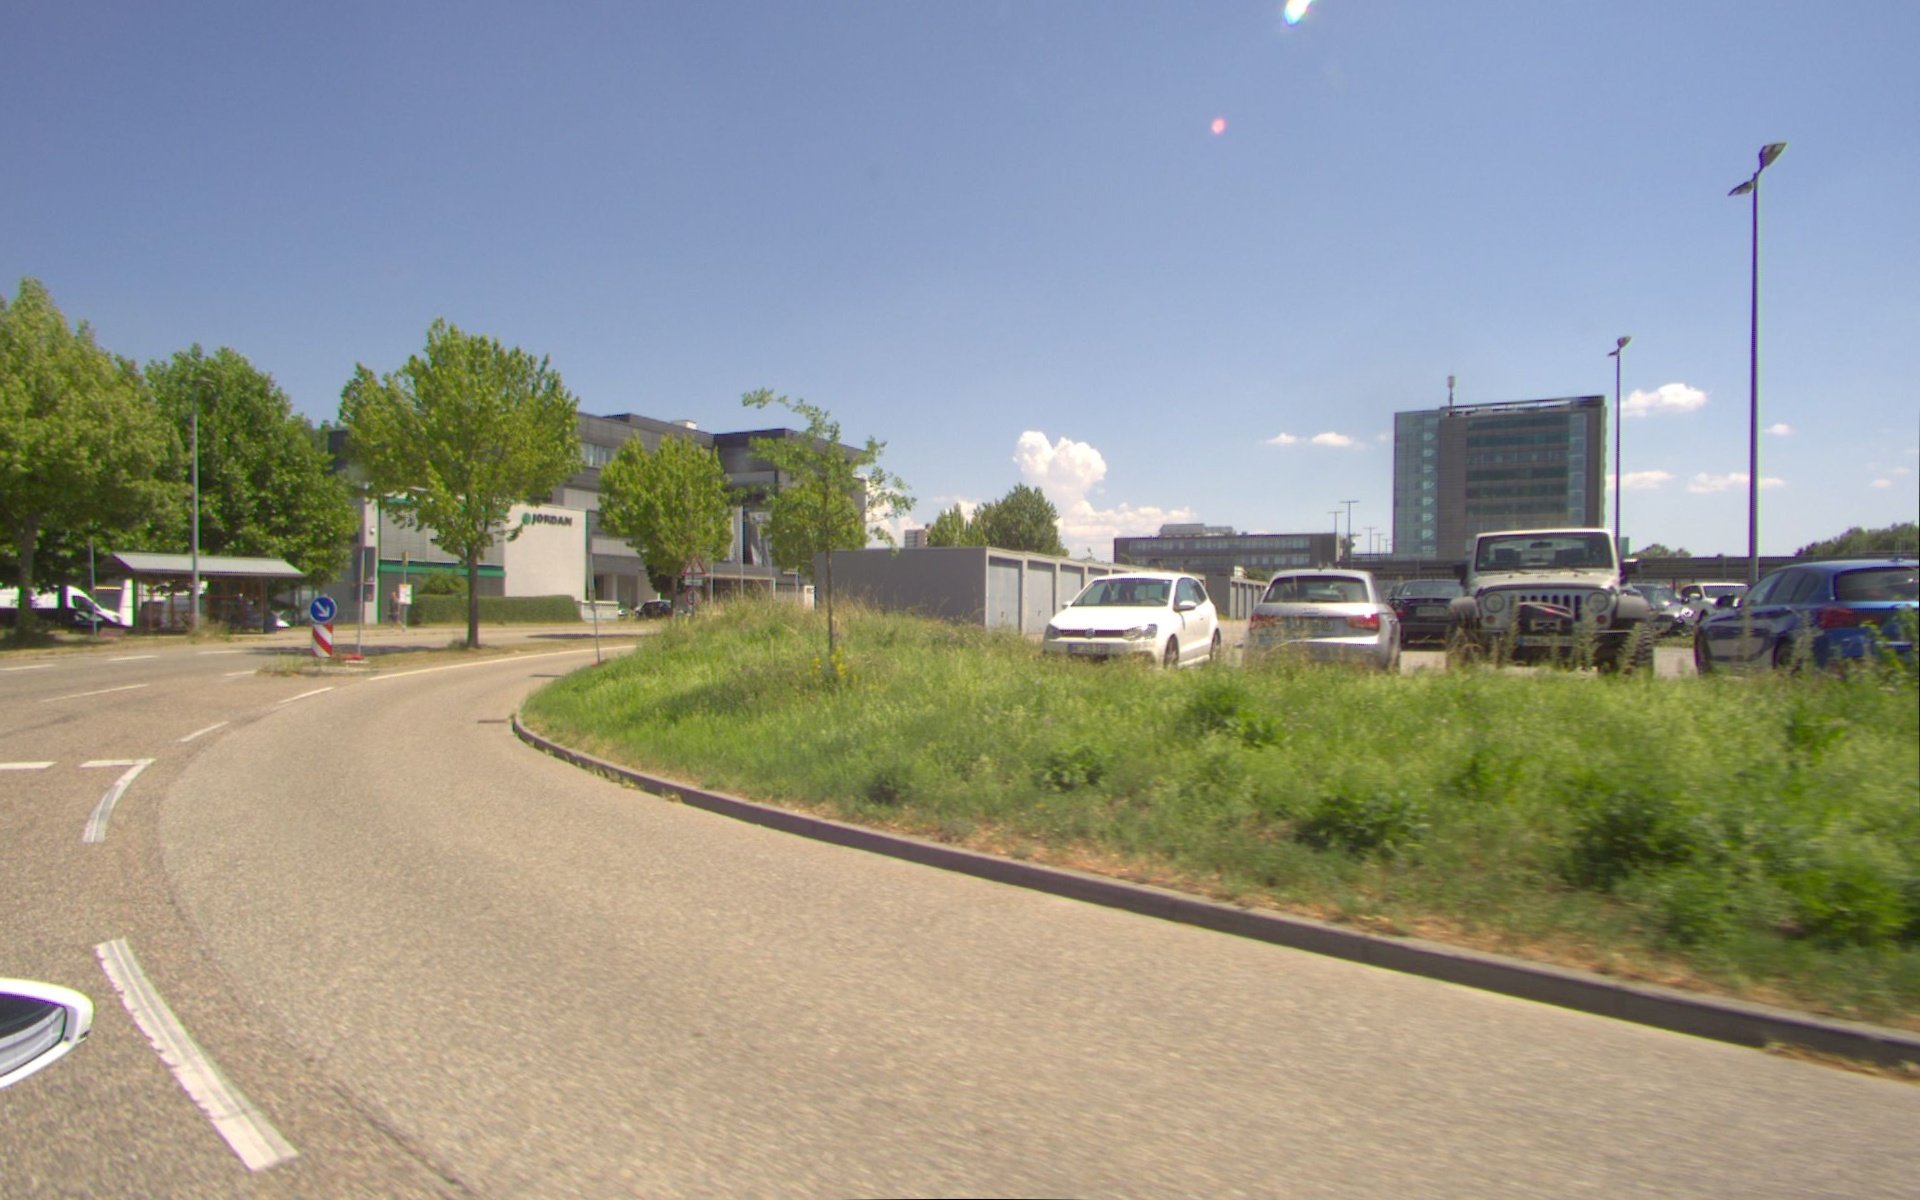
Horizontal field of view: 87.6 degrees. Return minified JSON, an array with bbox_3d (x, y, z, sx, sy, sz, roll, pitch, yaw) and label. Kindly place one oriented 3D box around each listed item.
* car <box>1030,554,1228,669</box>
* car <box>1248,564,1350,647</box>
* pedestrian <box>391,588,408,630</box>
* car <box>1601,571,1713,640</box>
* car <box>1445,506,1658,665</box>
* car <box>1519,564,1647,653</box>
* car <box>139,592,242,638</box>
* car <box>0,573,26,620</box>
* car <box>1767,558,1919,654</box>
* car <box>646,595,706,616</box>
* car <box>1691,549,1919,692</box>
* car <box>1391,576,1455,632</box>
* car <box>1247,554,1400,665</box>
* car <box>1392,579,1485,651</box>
[{"bbox_3d":[2.422,0.189,13.581,1.550,1.314,3.864,-2,-2,27],"label":"car"},{"bbox_3d":[7.861,0.182,22.965,1.748,1.712,4.592,1,-1,24],"label":"car"},{"bbox_3d":[-23.171,0.368,41.404,0.524,1.691,0.575,2,-2,-36],"label":"pedestrian"},{"bbox_3d":[16.681,0.117,24.133,1.572,1.519,3.628,0,0,24],"label":"car"},{"bbox_3d":[6.971,-0.087,11.891,1.849,1.547,3.731,-2,-2,31],"label":"car"},{"bbox_3d":[12.551,0.147,20.378,1.740,1.619,3.627,0,1,24],"label":"car"},{"bbox_3d":[-35.380,0.724,46.043,4.187,2.039,1.548,-1,-2,16],"label":"car"},{"bbox_3d":[-36.829,-0.113,36.277,1.812,1.751,3.983,0,1,28],"label":"car"},{"bbox_3d":[16.346,0.179,18.334,1.496,1.593,3.413,-1,-3,23],"label":"car"},{"bbox_3d":[-19.982,0.401,70.439,3.855,1.398,1.699,0,1,26],"label":"car"},{"bbox_3d":[9.331,0.217,10.689,1.559,1.273,3.937,-2,-2,23],"label":"car"},{"bbox_3d":[13.290,0.099,28.831,1.572,1.519,3.628,0,0,24],"label":"car"},{"bbox_3d":[4.701,0.150,12.708,1.477,1.197,3.260,-2,-2,26],"label":"car"},{"bbox_3d":[10.110,0.283,21.279,1.626,1.381,3.836,-1,0,24],"label":"car"}]
